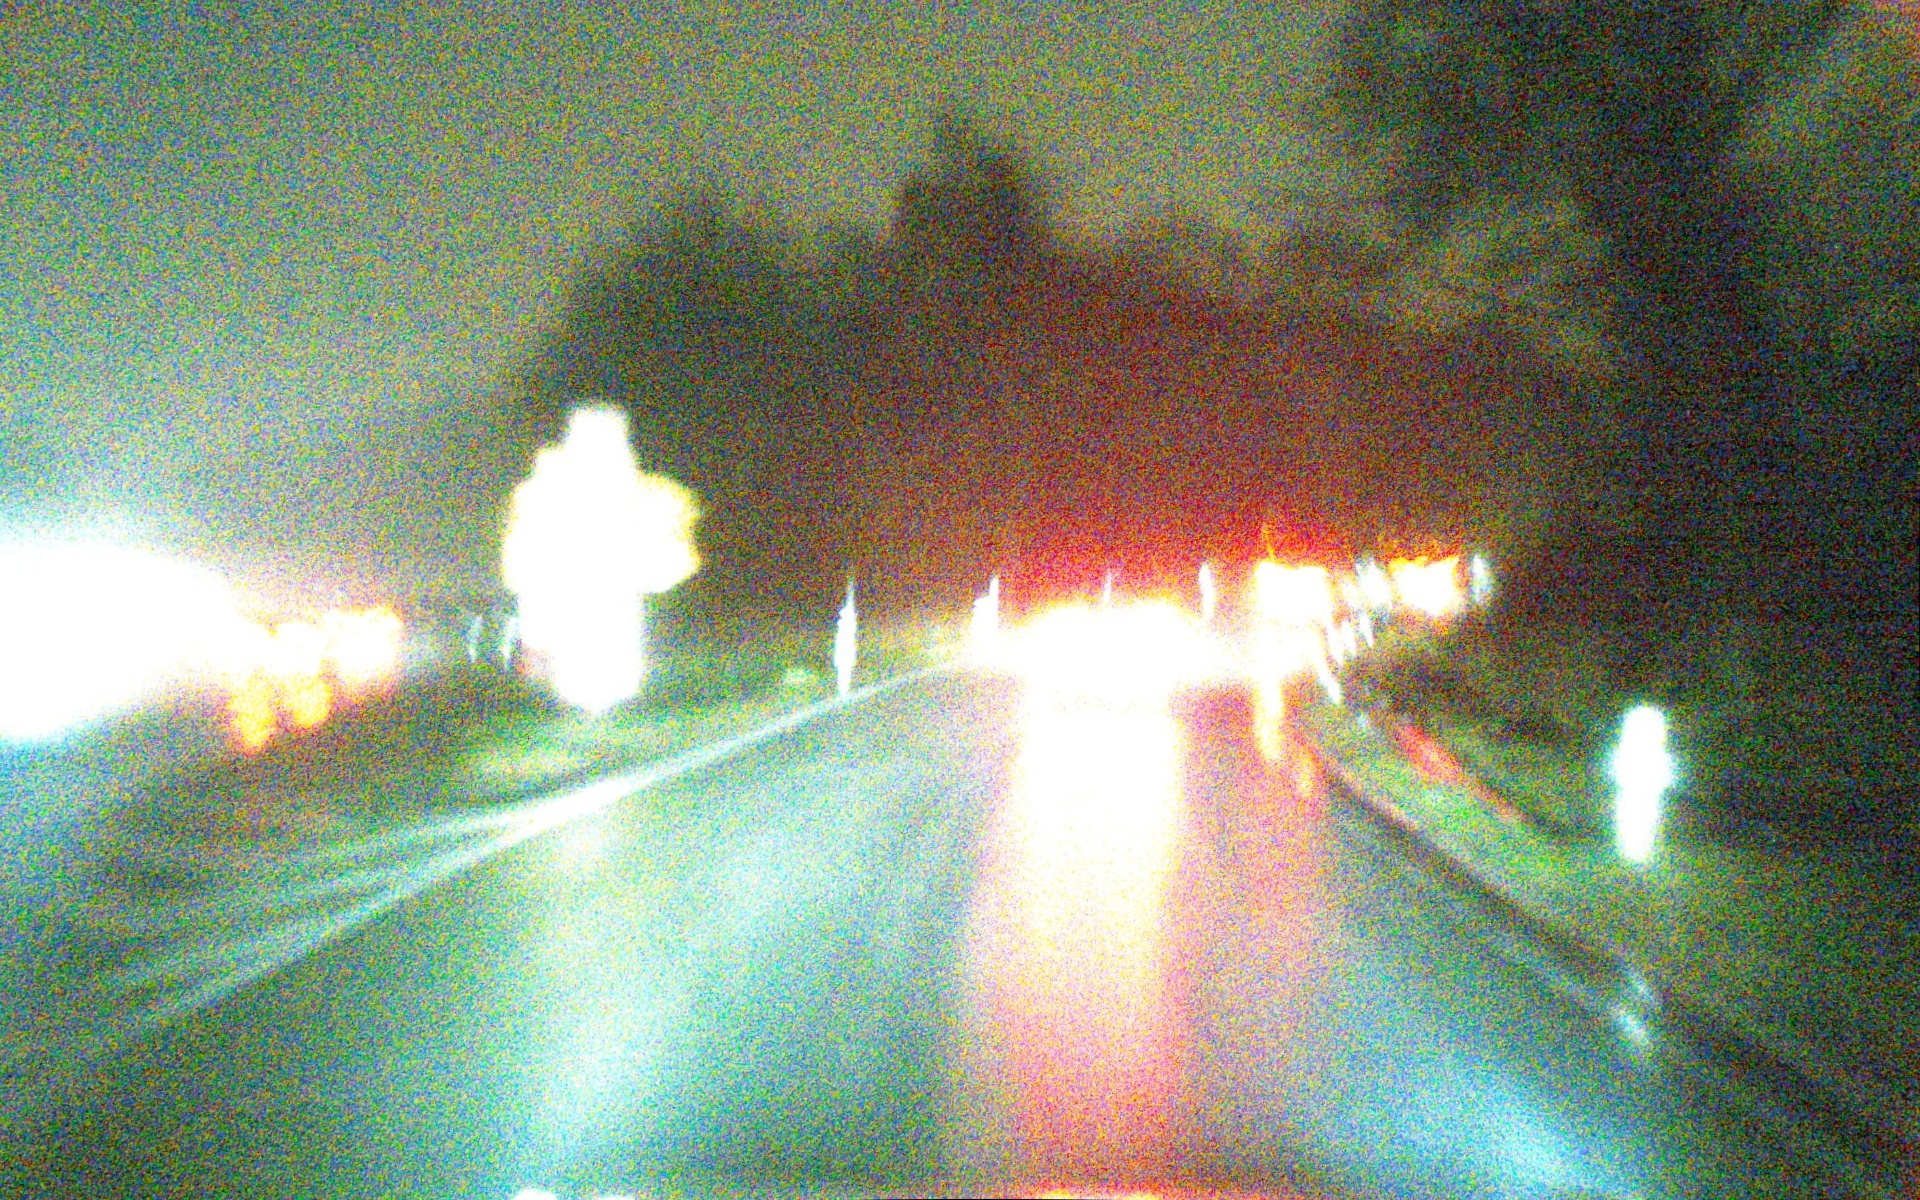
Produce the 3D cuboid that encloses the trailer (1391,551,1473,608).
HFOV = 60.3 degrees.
[{"bbox_3d":[19.264,-0.774,67.064,2.035,2.049,10.646,-2,-1,22],"label":"trailer"}]

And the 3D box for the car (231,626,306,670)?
[{"bbox_3d":[-26.332,1.797,63.091,1.737,1.543,4.899,-2,0,-12],"label":"car"}]

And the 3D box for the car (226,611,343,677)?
[{"bbox_3d":[-15.683,1.005,38.585,1.929,1.405,4.034,-1,-1,-14],"label":"car"}]
